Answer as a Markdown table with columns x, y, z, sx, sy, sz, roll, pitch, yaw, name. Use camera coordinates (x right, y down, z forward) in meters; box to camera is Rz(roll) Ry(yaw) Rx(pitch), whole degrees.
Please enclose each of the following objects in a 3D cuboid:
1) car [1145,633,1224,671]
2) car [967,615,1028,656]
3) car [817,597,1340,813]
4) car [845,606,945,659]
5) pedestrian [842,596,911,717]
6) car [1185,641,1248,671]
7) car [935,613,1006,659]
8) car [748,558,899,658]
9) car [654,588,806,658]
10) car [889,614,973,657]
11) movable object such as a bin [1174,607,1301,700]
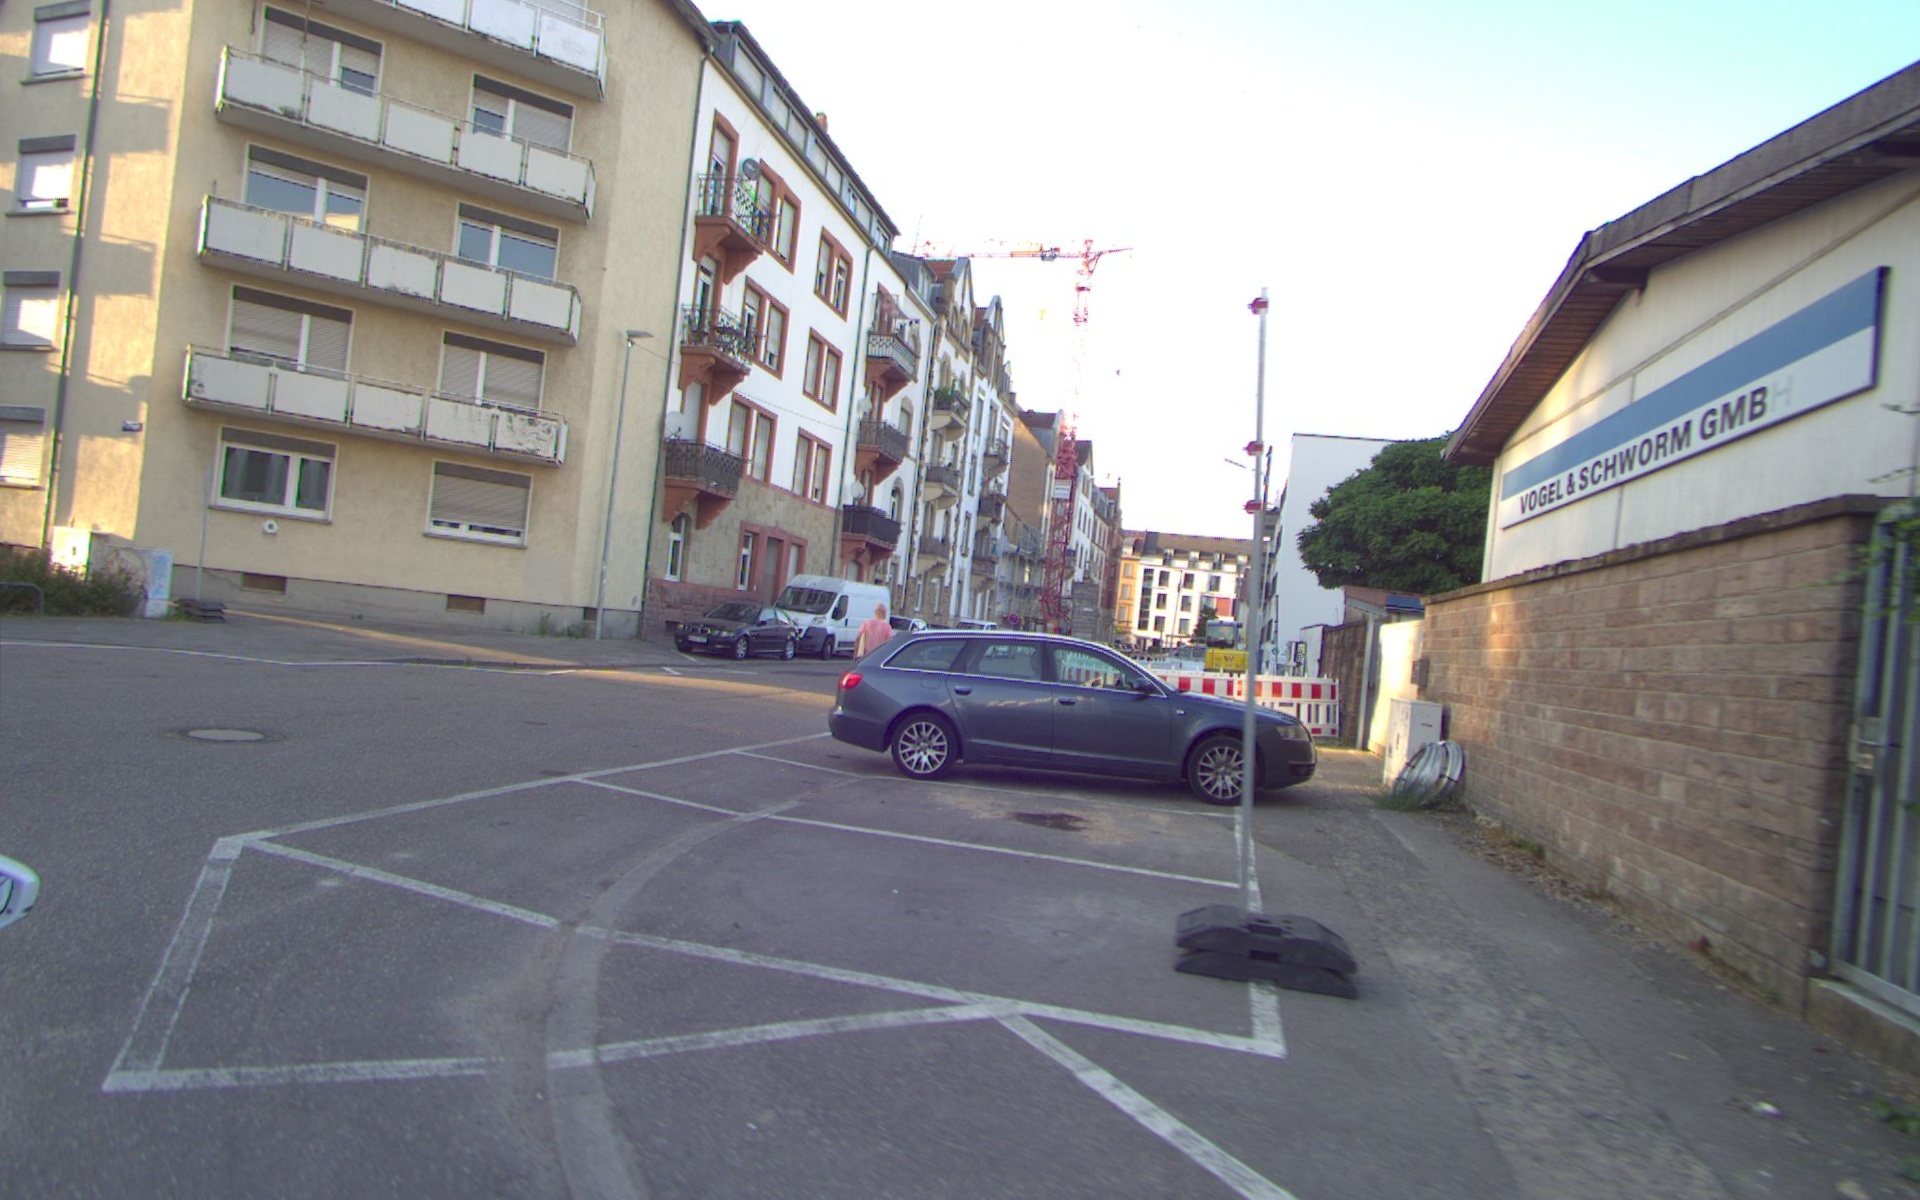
| x | y | z | sx | sy | sz | roll | pitch | yaw | name |
| --- | --- | --- | --- | --- | --- | --- | --- | --- | --- |
| 15.466 | 3.583 | 69.484 | 4.975 | 2.095 | 2.002 | 6 | -1 | 6 | car |
| 2.142 | 2.022 | 55.590 | 2.162 | 1.886 | 4.611 | 8 | -1 | 16 | car |
| 1.117 | 0.966 | 10.100 | 4.637 | 1.549 | 1.834 | 5 | -1 | 6 | car |
| -2.348 | 1.265 | 37.885 | 2.190 | 1.586 | 4.611 | 8 | -1 | 16 | car |
| -1.255 | 0.836 | 15.035 | 0.773 | 1.686 | 0.628 | 7 | 0 | -10 | pedestrian |
| 22.715 | 4.928 | 89.033 | 4.979 | 2.095 | 2.000 | 6 | -1 | 22 | car |
| 0.582 | 1.809 | 49.721 | 2.162 | 1.886 | 4.611 | 8 | -1 | 16 | car |
| -4.084 | 0.380 | 31.617 | 2.190 | 2.560 | 6.041 | 8 | -1 | 16 | car |
| -5.731 | 0.650 | 25.612 | 1.962 | 1.388 | 4.003 | 8 | -1 | 16 | car |
| -1.169 | 1.568 | 43.208 | 2.162 | 1.461 | 4.611 | 8 | -1 | 16 | car |
| 9.648 | 1.898 | 34.589 | 2.630 | 2.692 | 5.191 | 6 | -1 | 32 | movable object such as a bin |
